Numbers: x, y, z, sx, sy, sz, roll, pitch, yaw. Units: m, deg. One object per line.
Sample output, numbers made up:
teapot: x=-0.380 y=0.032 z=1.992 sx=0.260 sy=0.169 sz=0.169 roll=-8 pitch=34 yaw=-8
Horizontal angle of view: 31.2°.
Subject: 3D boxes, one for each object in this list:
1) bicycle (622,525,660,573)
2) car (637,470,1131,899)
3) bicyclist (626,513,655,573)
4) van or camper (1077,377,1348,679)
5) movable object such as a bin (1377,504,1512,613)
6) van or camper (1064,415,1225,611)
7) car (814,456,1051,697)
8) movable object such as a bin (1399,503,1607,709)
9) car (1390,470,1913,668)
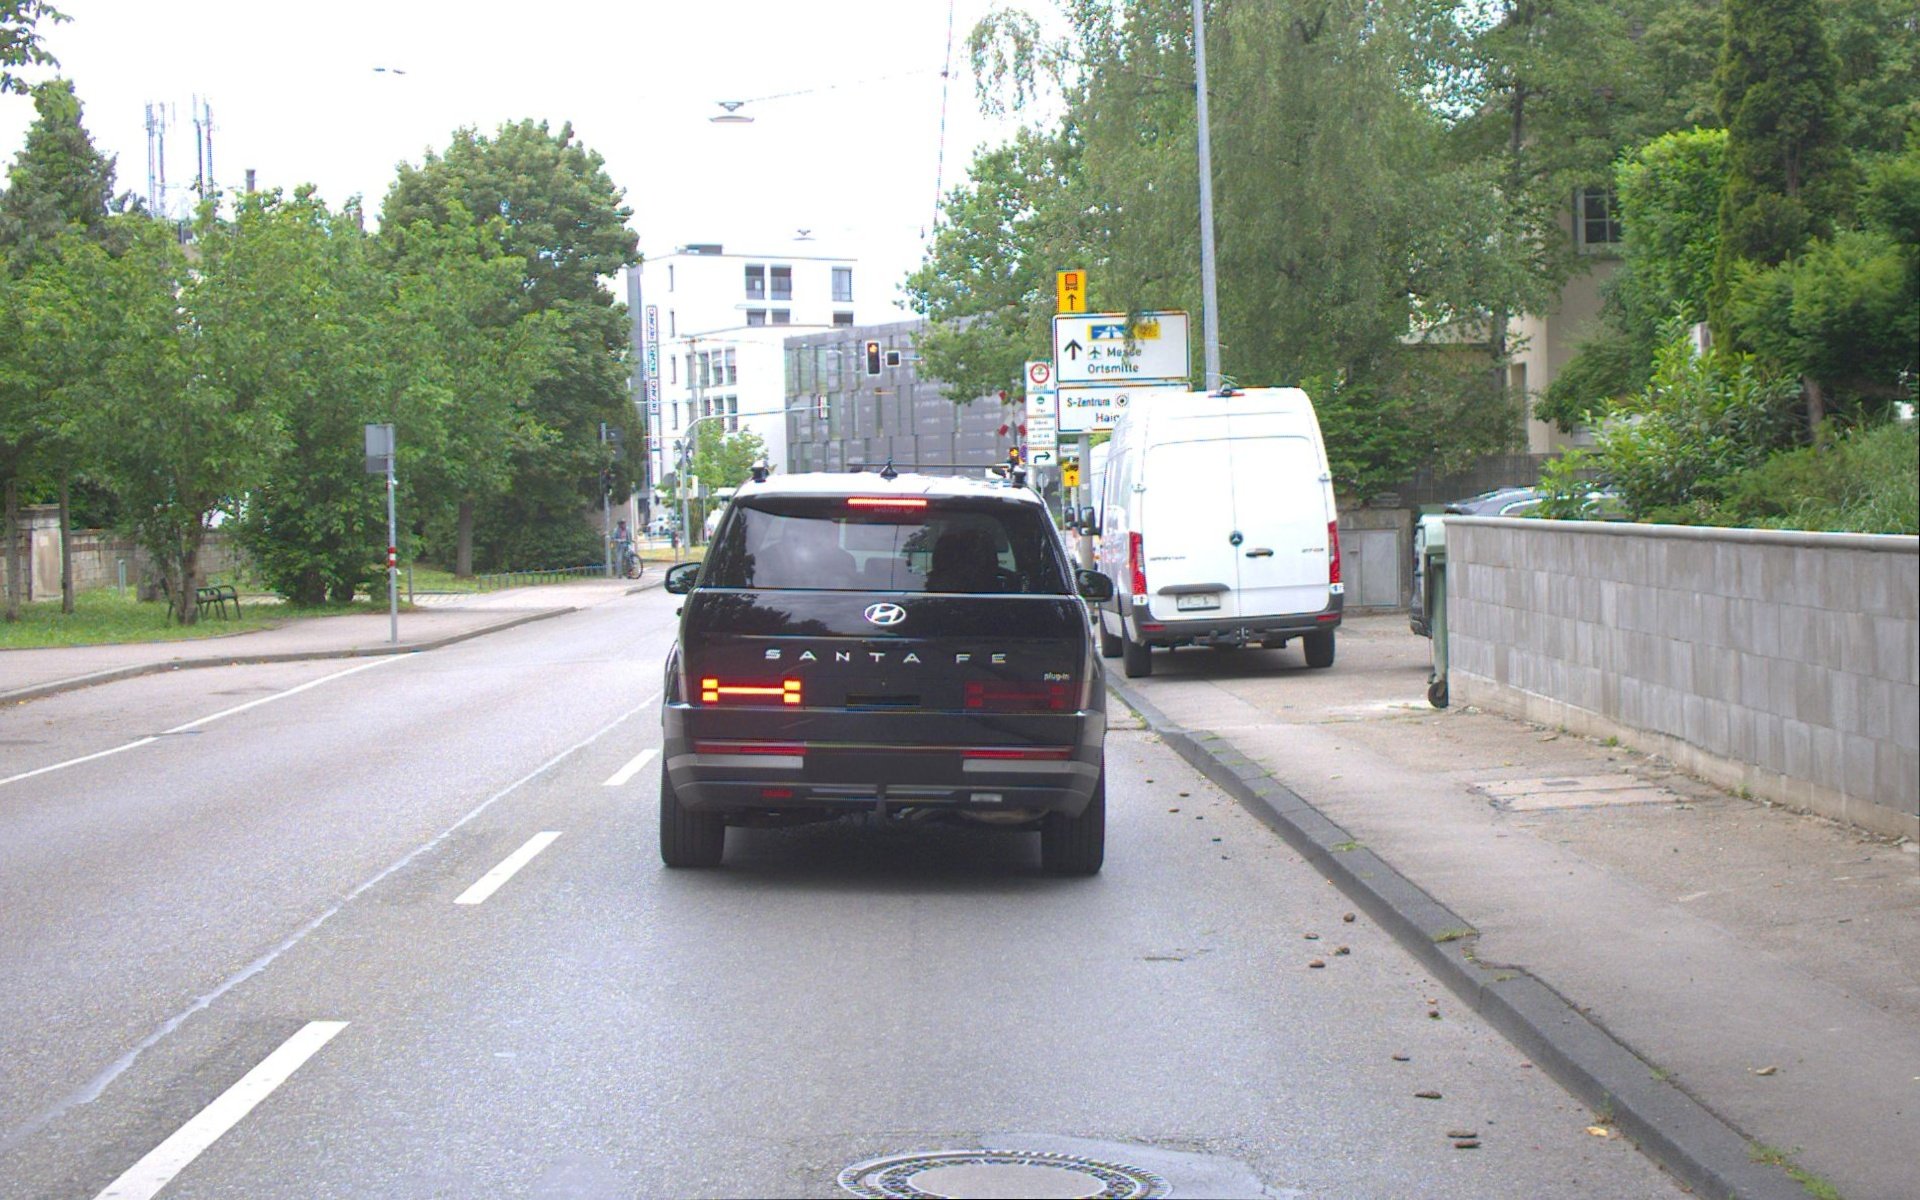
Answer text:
bicycle: x=-8.940 y=-1.421 z=96.177 sx=0.675 sy=1.275 sz=2.502 roll=1 pitch=0 yaw=-14
car: x=-0.323 y=0.288 z=15.727 sx=1.963 sy=1.705 sz=4.000 roll=0 pitch=1 yaw=-1
bicyclist: x=-8.940 y=-1.595 z=96.207 sx=0.675 sy=1.653 sz=0.859 roll=1 pitch=0 yaw=-14
van or camper: x=2.385 y=-0.733 z=34.193 sx=1.963 sy=2.618 sz=6.359 roll=-3 pitch=2 yaw=-1
movable object such as a bin: x=6.641 y=-0.584 z=47.232 sx=1.449 sy=1.468 sz=1.718 roll=0 pitch=1 yaw=-6
van or camper: x=2.783 y=-1.338 z=53.013 sx=1.963 sy=2.787 sz=5.287 roll=-3 pitch=1 yaw=-1
car: x=-0.274 y=-0.247 z=30.661 sx=1.963 sy=1.994 sz=4.001 roll=0 pitch=1 yaw=-1
movable object such as a bin: x=3.983 y=0.032 z=25.337 sx=1.299 sy=1.445 sz=1.181 roll=-2 pitch=1 yaw=0
car: x=6.256 y=-0.297 z=31.455 sx=4.394 sy=1.646 sz=1.830 roll=-1 pitch=1 yaw=1
